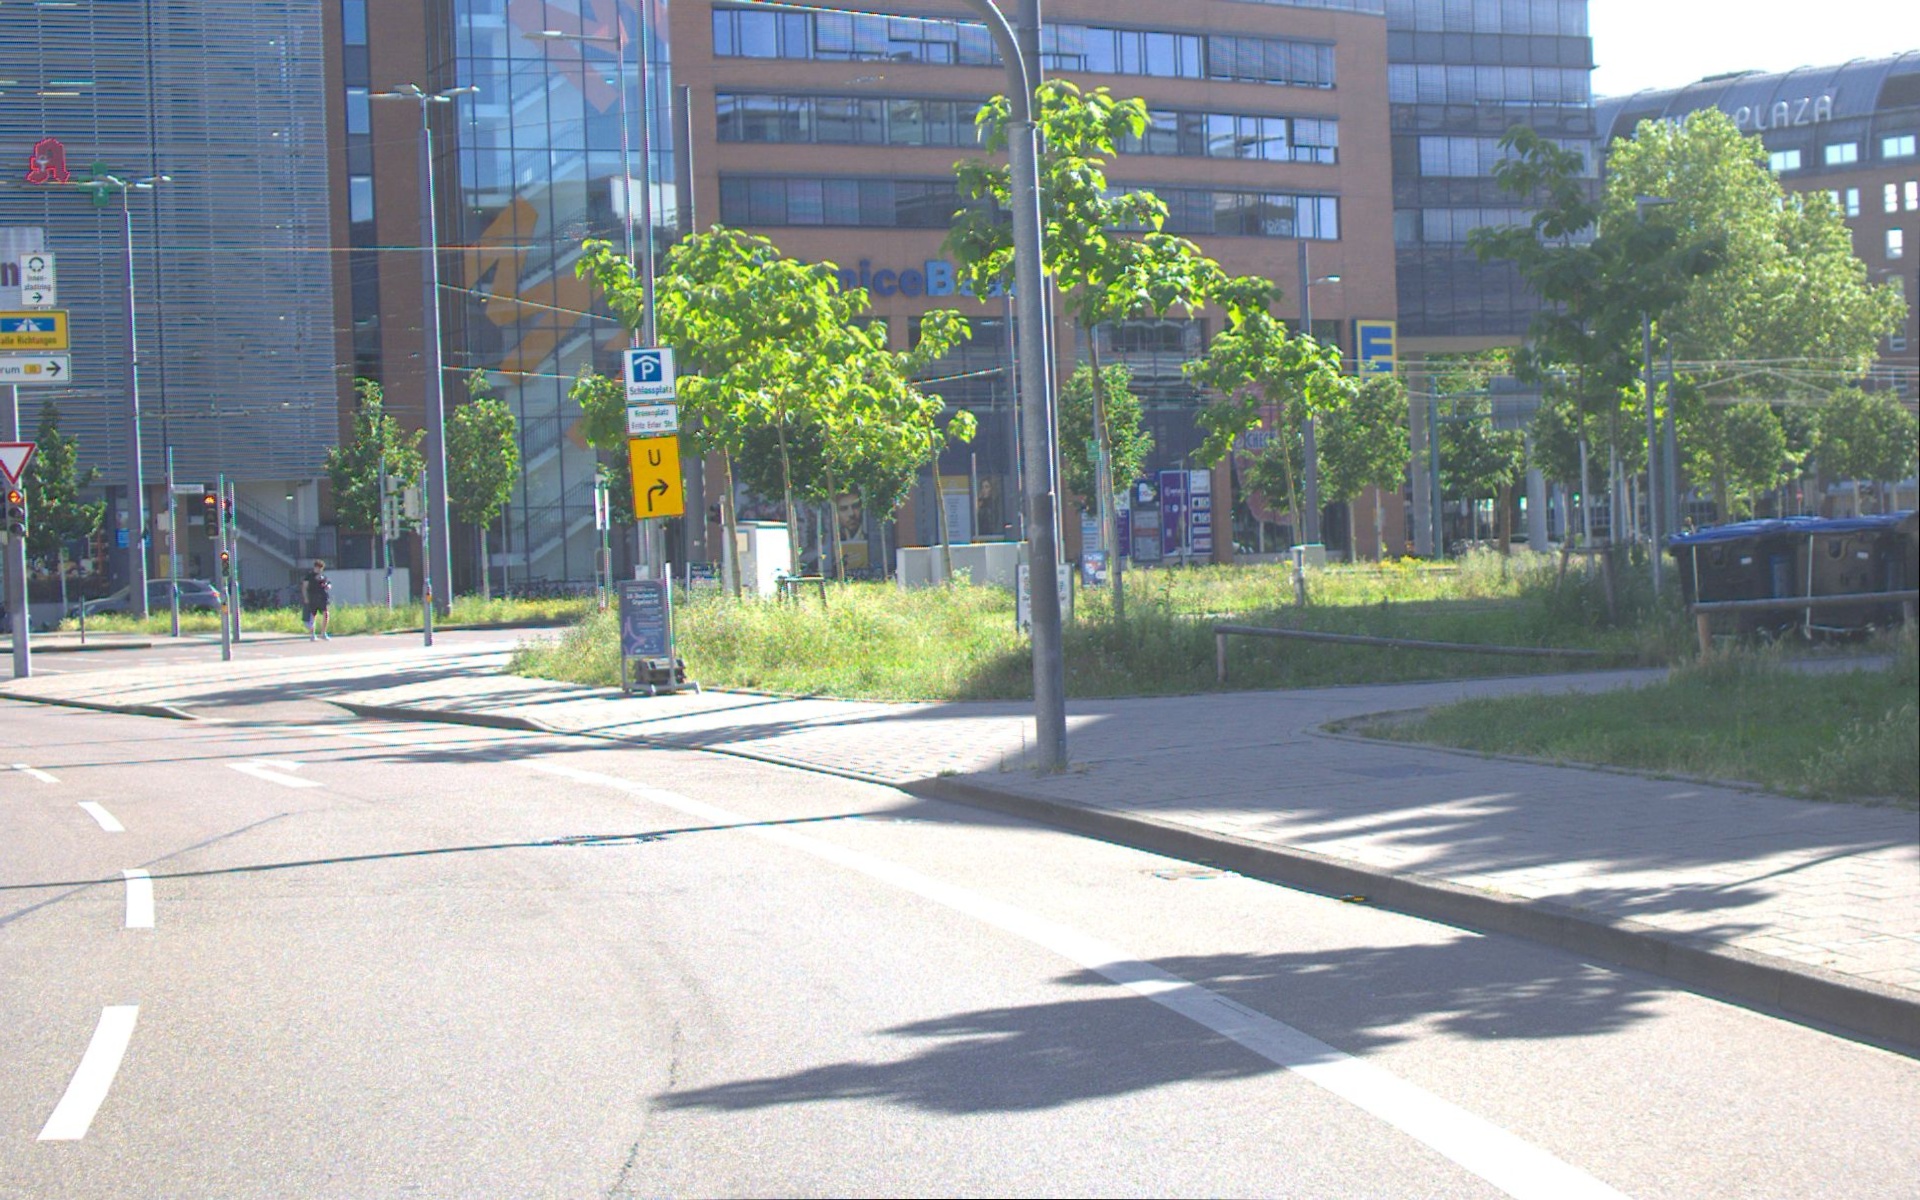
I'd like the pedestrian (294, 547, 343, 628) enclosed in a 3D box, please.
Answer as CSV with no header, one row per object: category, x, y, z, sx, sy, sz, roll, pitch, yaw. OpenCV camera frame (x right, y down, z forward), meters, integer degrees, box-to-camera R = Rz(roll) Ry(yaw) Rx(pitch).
pedestrian,-13.857,-0.273,74.250,0.806,1.703,0.762,-2,1,-26

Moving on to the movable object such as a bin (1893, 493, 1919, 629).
movable object such as a bin,10.362,-0.427,35.630,1.030,1.393,1.088,-2,1,32

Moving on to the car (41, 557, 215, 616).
car,-23.345,-0.393,96.507,4.486,1.489,1.495,-2,1,-26

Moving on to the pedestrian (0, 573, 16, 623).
pedestrian,-29.878,-0.059,107.374,0.589,1.529,0.658,-2,1,-26

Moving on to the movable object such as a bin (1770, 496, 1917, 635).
movable object such as a bin,9.278,-0.368,36.081,1.109,1.393,1.319,-2,1,32

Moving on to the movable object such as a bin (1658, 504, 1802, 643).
movable object such as a bin,8.129,-0.286,36.275,1.070,1.393,1.301,-2,1,32

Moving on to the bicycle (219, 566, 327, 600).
bicycle,-22.786,-0.566,114.092,3.360,1.073,1.117,-1,1,-20
